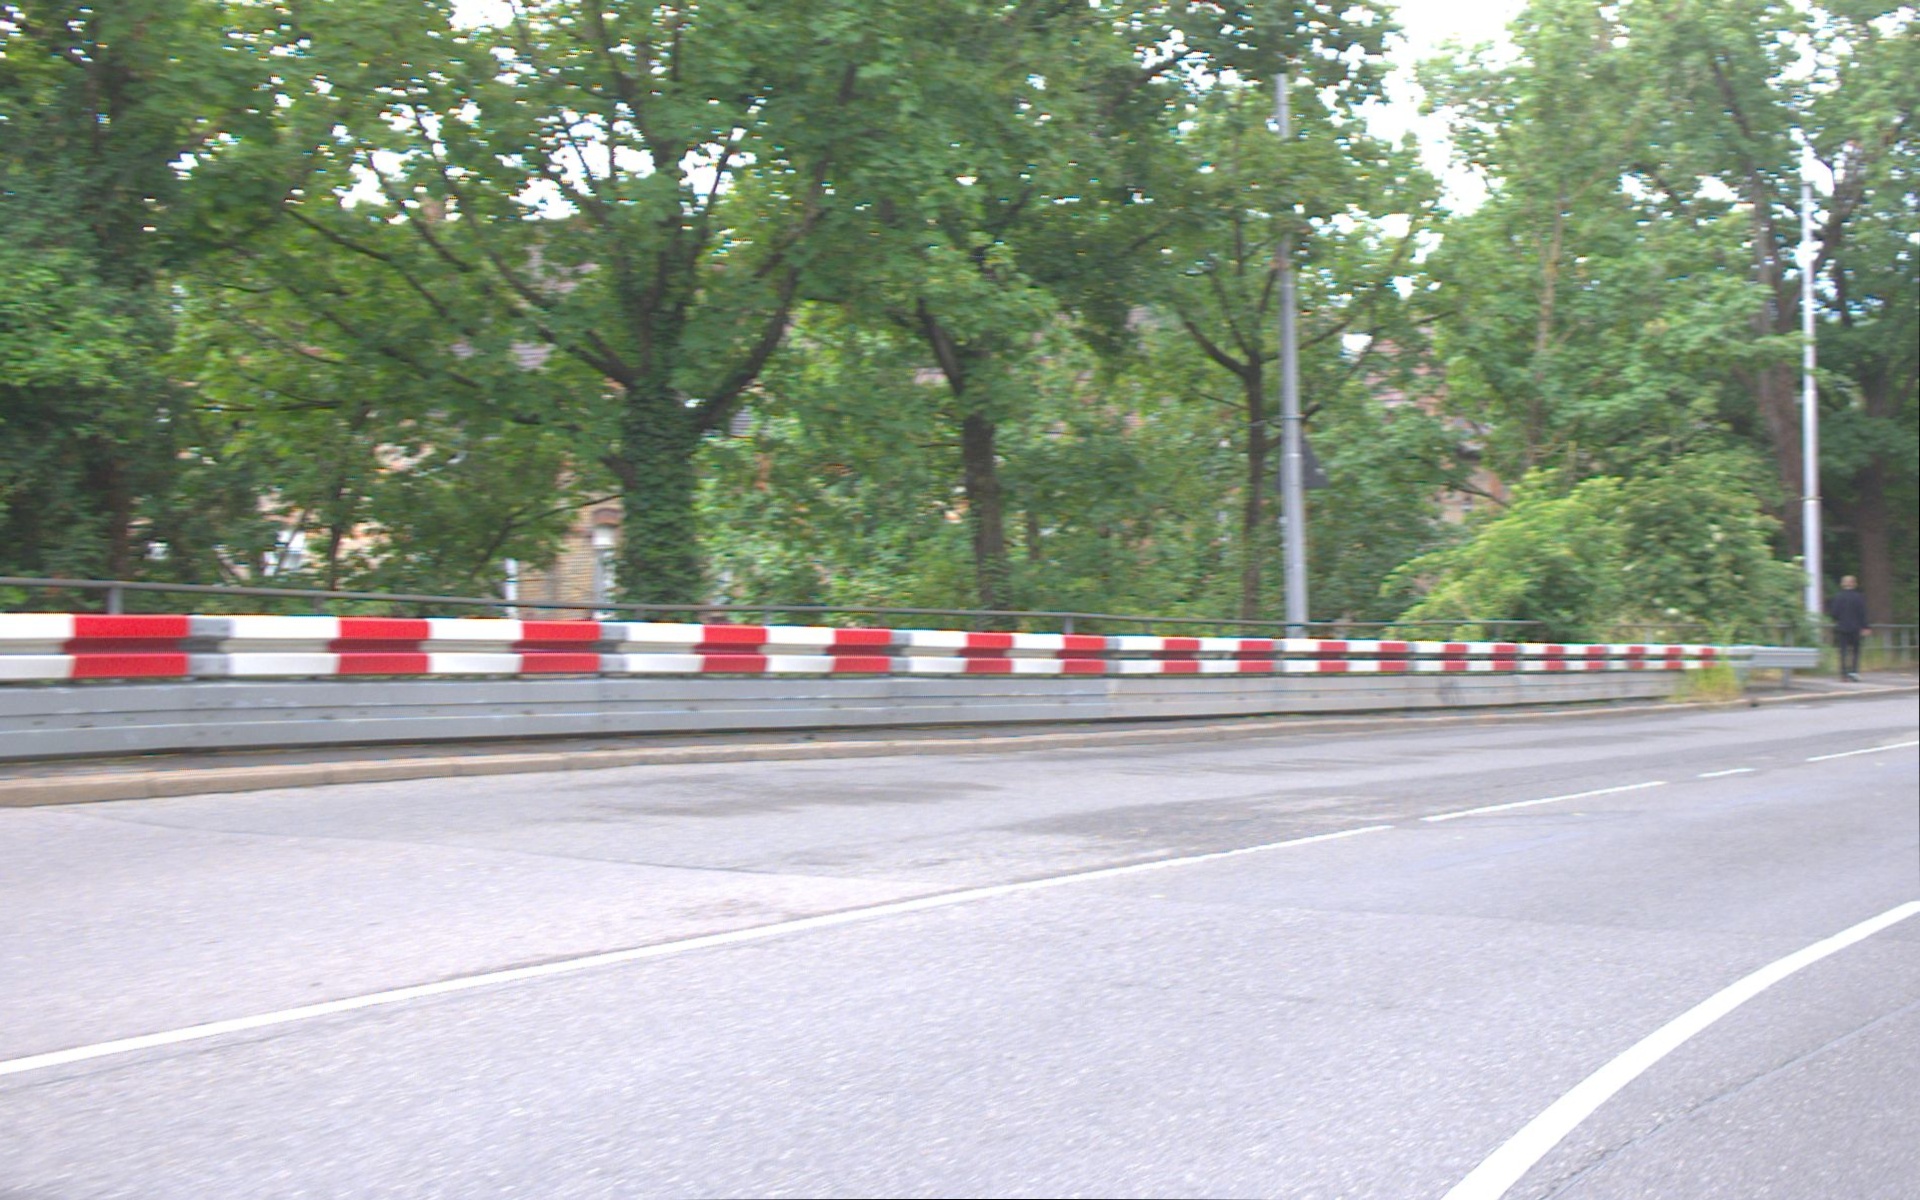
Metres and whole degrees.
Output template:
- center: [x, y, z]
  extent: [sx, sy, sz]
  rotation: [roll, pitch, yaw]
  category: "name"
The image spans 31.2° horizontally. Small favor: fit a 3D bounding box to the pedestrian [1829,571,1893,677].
- center: [15.612, 0.415, 59.554]
  extent: [0.789, 1.768, 1.207]
  rotation: [4, 1, 23]
  category: "pedestrian"
